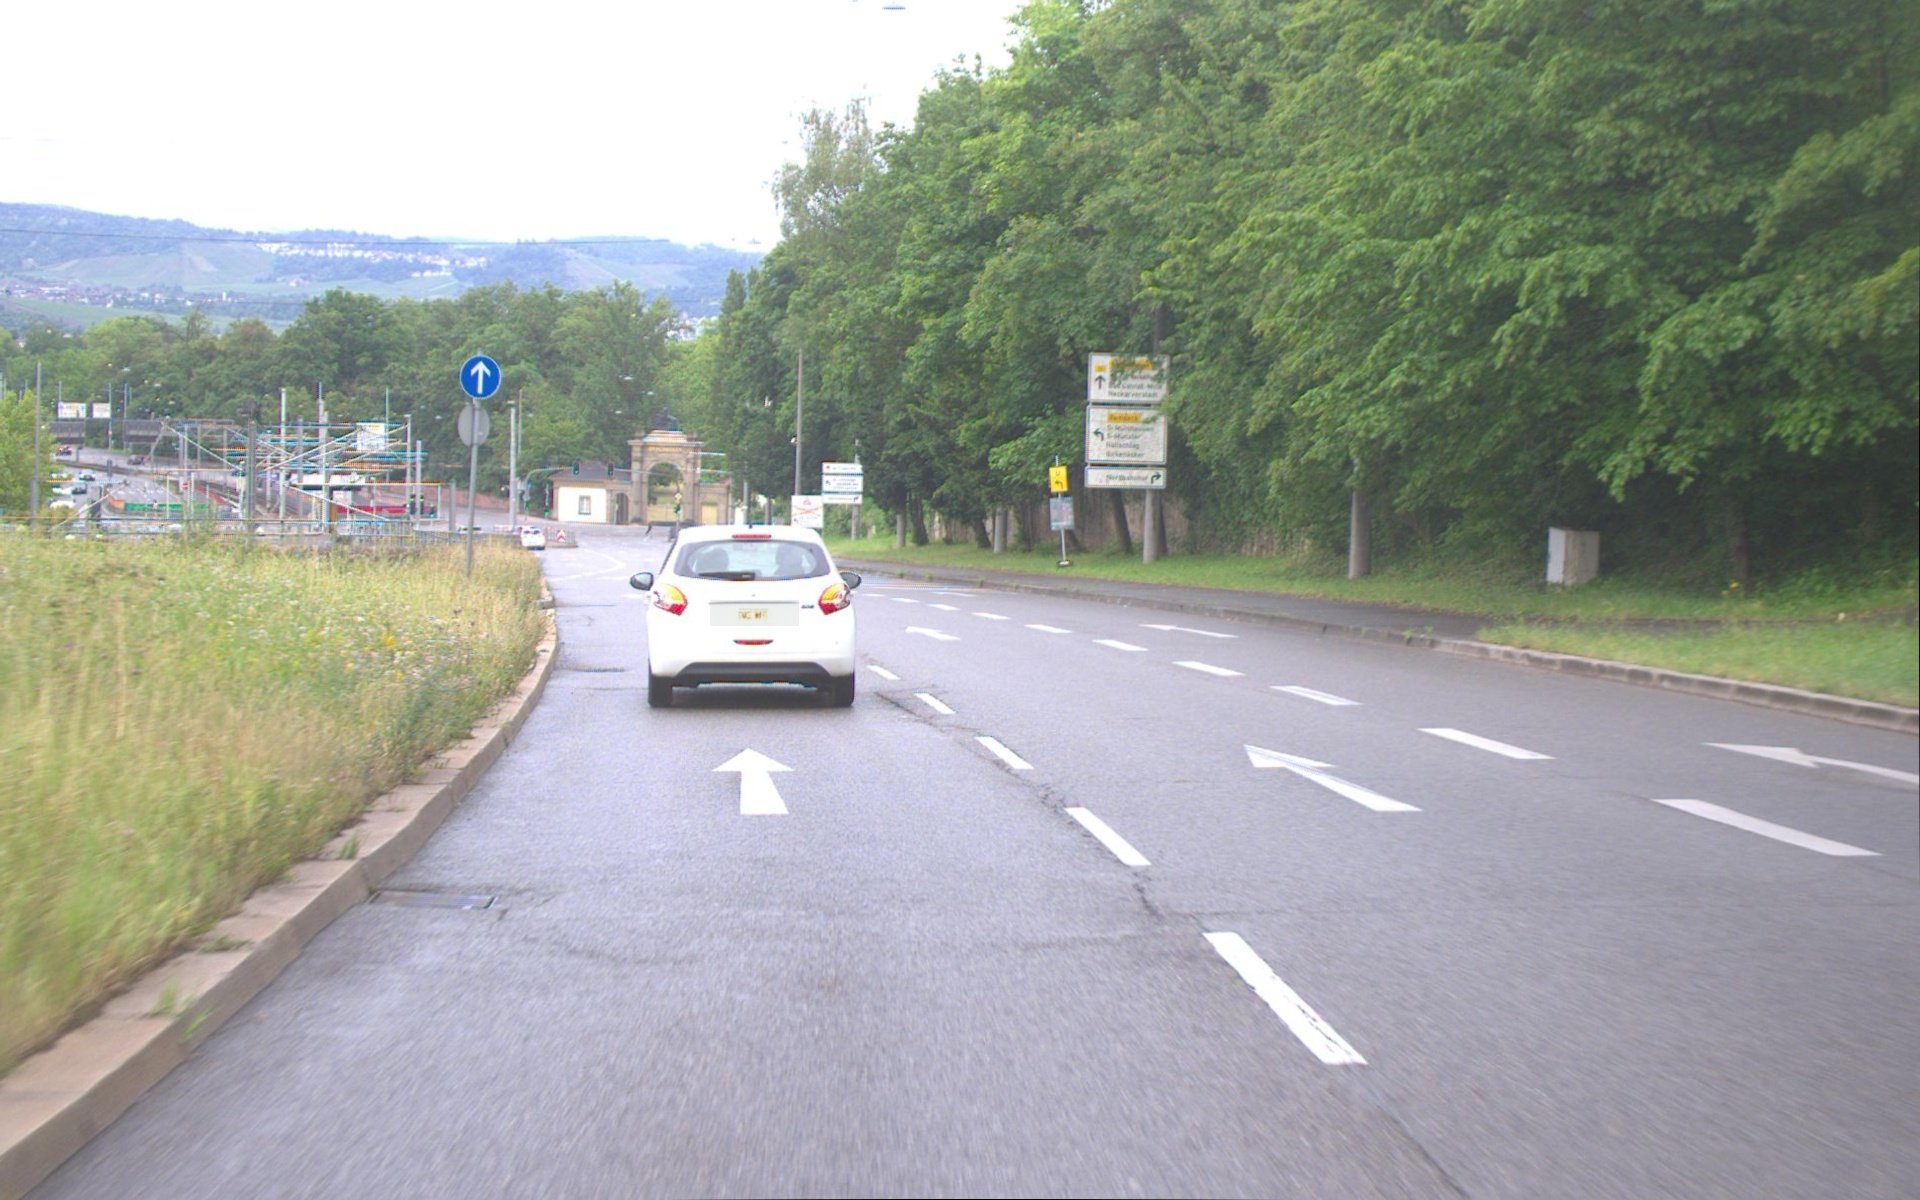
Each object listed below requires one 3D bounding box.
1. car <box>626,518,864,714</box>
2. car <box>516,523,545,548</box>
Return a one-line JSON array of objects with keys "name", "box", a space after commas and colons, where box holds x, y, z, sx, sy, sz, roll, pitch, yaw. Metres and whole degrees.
[{"name": "car", "box": [-1.827, 0.083, 28.931, 1.868, 1.505, 3.900, 0, 2, -4]}, {"name": "car", "box": [-28.702, -4.313, 229.749, 1.822, 1.600, 4.001, -1, 2, -6]}]
